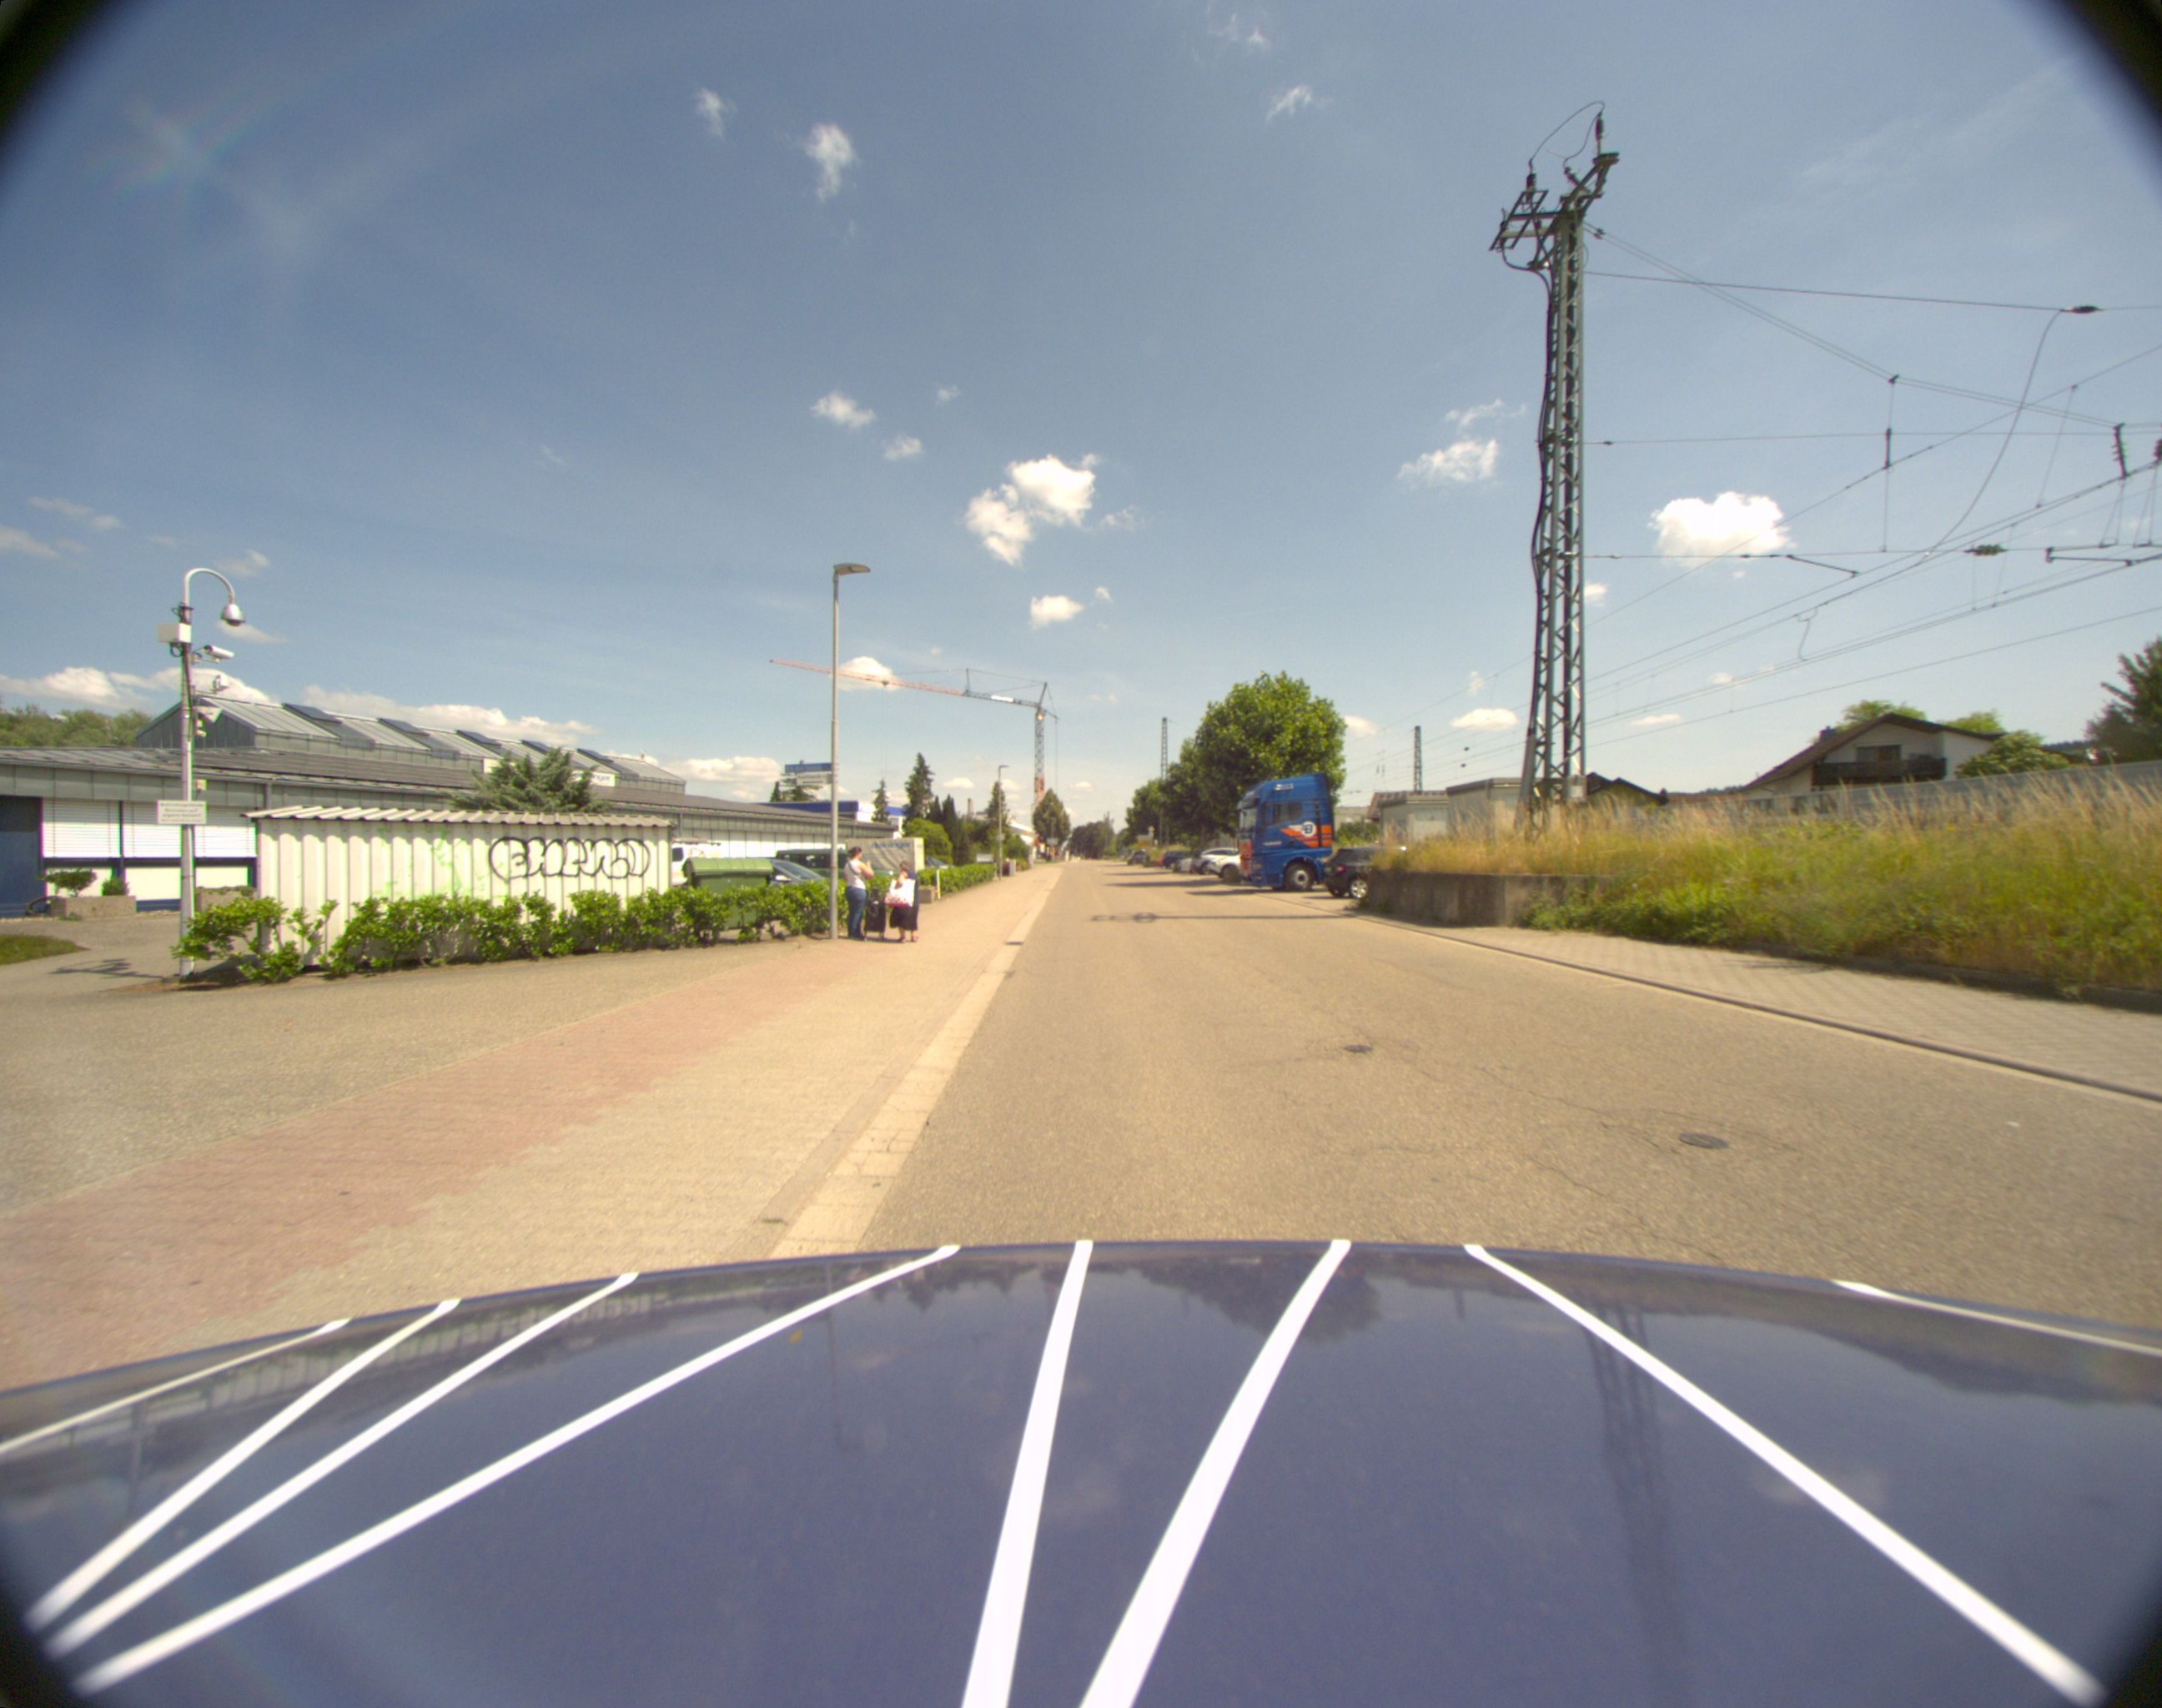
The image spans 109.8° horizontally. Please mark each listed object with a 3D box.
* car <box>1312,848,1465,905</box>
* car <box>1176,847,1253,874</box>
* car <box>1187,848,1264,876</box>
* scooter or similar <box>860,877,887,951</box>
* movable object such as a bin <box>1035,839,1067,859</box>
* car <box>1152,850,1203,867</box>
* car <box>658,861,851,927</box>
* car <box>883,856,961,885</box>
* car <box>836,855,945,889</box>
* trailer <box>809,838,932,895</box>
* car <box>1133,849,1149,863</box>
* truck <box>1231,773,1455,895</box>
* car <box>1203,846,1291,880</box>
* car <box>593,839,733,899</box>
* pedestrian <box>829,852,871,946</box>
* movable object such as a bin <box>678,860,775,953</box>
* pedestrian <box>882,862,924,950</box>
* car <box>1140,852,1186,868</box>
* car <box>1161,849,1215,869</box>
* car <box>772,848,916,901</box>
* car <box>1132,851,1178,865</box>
[{"bbox_3d":[8.736,0.617,21.749,3.653,1.492,1.699,0,2,-3],"label":"car"},{"bbox_3d":[8.152,0.414,46.551,4.349,1.524,1.926,-1,0,0],"label":"car"},{"bbox_3d":[8.302,0.437,43.879,3.998,1.539,1.999,-1,1,-2],"label":"car"},{"bbox_3d":[-3.468,0.997,12.722,0.334,1.191,0.397,0,3,1],"label":"scooter or similar"},{"bbox_3d":[-5.214,-0.860,132.224,5.133,3.276,2.390,0,6,-17],"label":"movable object such as a bin"},{"bbox_3d":[8.082,0.366,63.721,4.083,1.360,1.674,-1,-1,0],"label":"car"},{"bbox_3d":[-7.839,0.943,18.508,3.855,1.447,1.817,-1,0,1],"label":"car"},{"bbox_3d":[-7.722,0.788,37.123,3.360,1.393,1.770,0,0,4],"label":"car"},{"bbox_3d":[-8.545,0.788,34.436,4.487,1.432,1.814,-1,0,-3],"label":"car"},{"bbox_3d":[-7.844,0.461,28.592,3.997,2.002,2.000,-1,0,0],"label":"trailer"},{"bbox_3d":[6.937,0.193,87.456,1.688,1.522,4.064,0,0,7],"label":"car"},{"bbox_3d":[8.767,-0.661,25.923,6.632,3.801,2.663,-1,1,-2],"label":"truck"},{"bbox_3d":[8.364,0.436,38.518,3.981,1.608,1.850,-1,0,-3],"label":"car"},{"bbox_3d":[-15.950,0.498,29.338,2.103,2.113,4.721,1,1,14],"label":"car"},{"bbox_3d":[-3.897,0.745,12.828,0.536,1.531,0.510,1,2,-1],"label":"pedestrian"},{"bbox_3d":[-6.073,0.861,13.015,1.270,1.450,1.046,-2,1,-37],"label":"movable object such as a bin"},{"bbox_3d":[-2.949,0.855,12.645,0.566,1.397,0.583,0,3,-1],"label":"pedestrian"},{"bbox_3d":[7.709,0.558,71.684,4.084,1.394,1.786,-1,1,-2],"label":"car"},{"bbox_3d":[8.082,0.349,57.549,3.953,1.442,1.787,0,1,4],"label":"car"},{"bbox_3d":[-7.769,0.638,25.235,4.223,1.625,1.800,0,2,-1],"label":"car"},{"bbox_3d":[7.499,0.411,77.149,4.438,1.402,1.787,0,0,-3],"label":"car"}]
